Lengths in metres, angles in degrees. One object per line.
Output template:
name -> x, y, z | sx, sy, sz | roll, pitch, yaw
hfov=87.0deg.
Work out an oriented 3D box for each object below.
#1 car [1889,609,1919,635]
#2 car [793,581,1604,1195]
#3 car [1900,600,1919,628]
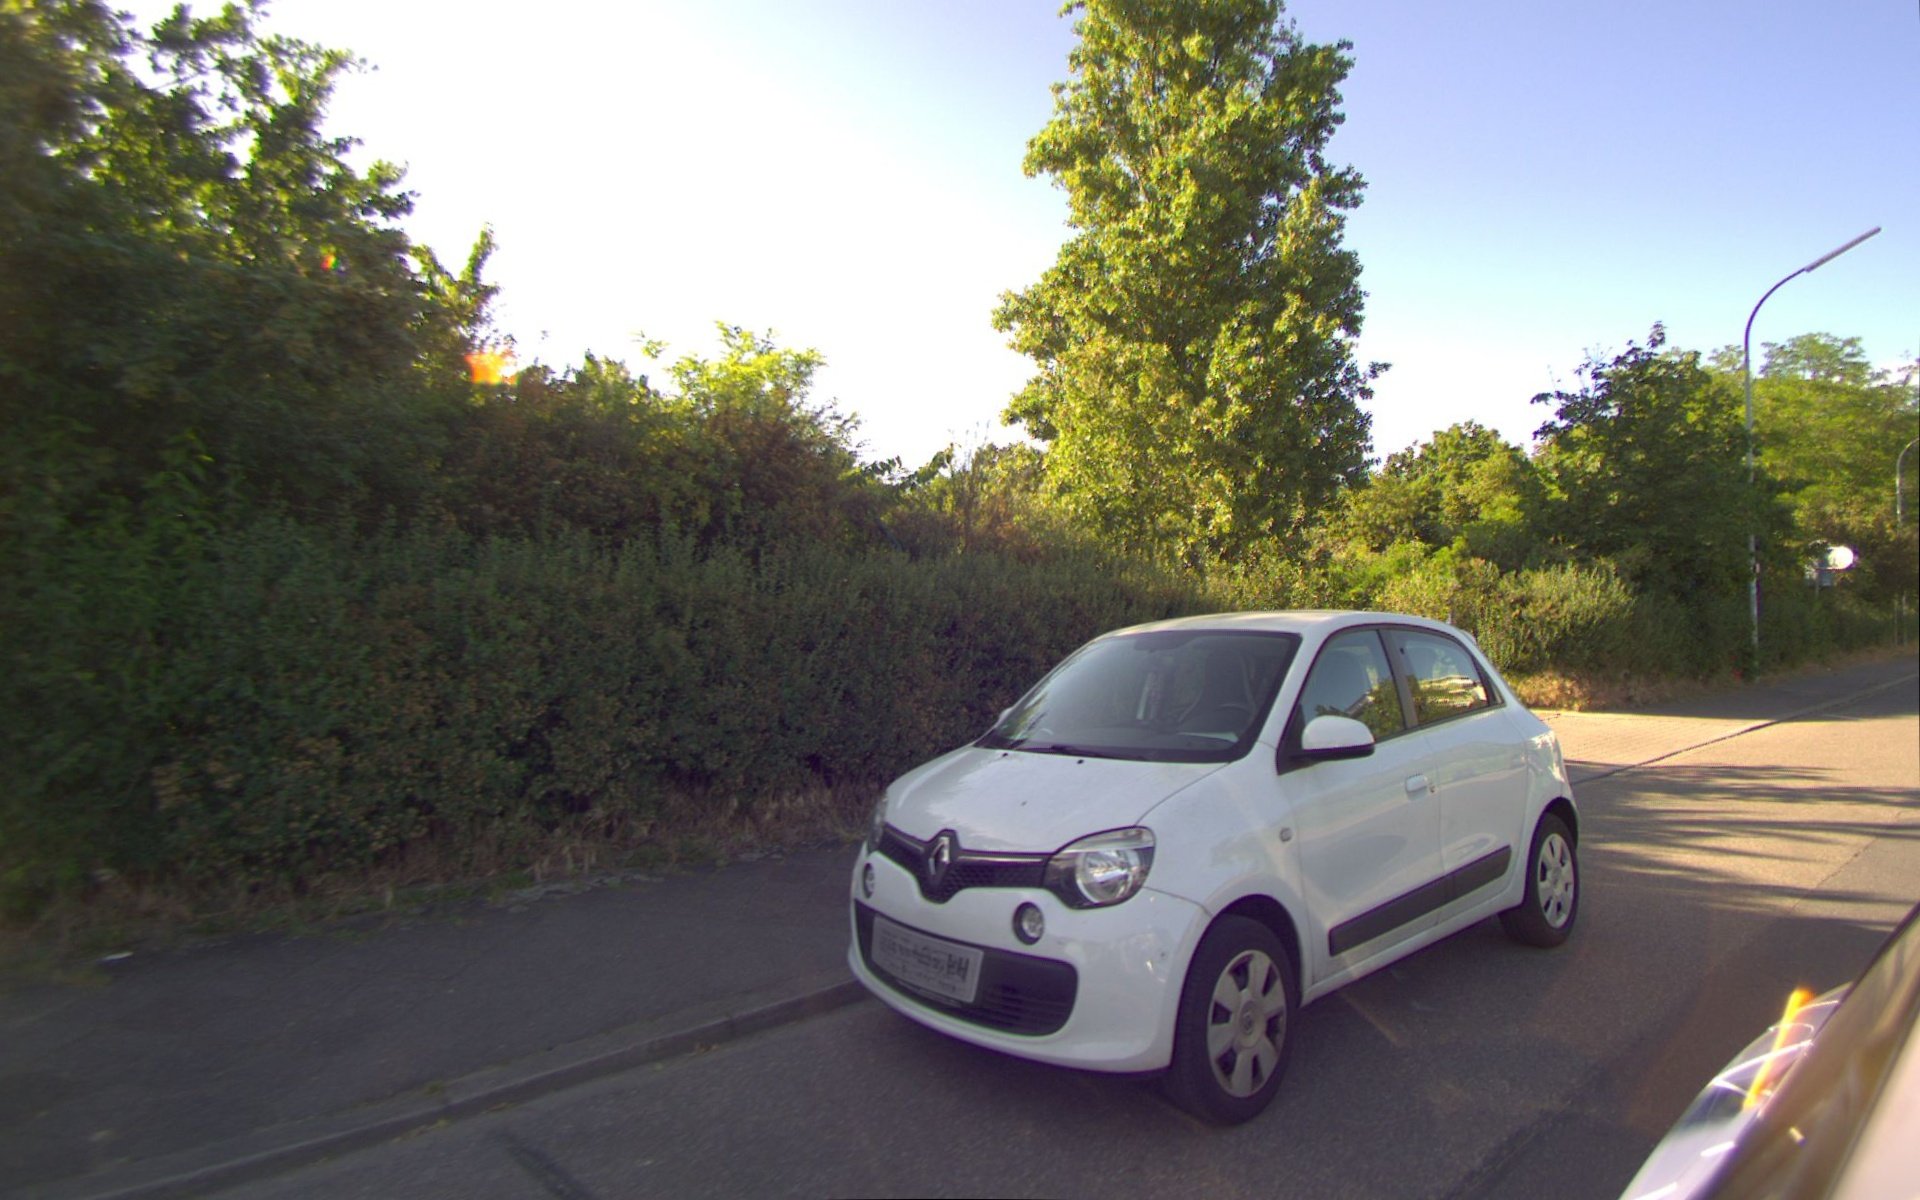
car -> 64.512, 1.480, 67.135 | 1.745, 1.717, 4.153 | 1, -1, -43
car -> 1.212, 0.776, 4.329 | 3.492, 1.559, 1.558 | 0, -3, -40
car -> 73.475, 1.069, 75.807 | 1.987, 2.042, 4.455 | 1, 0, -44
